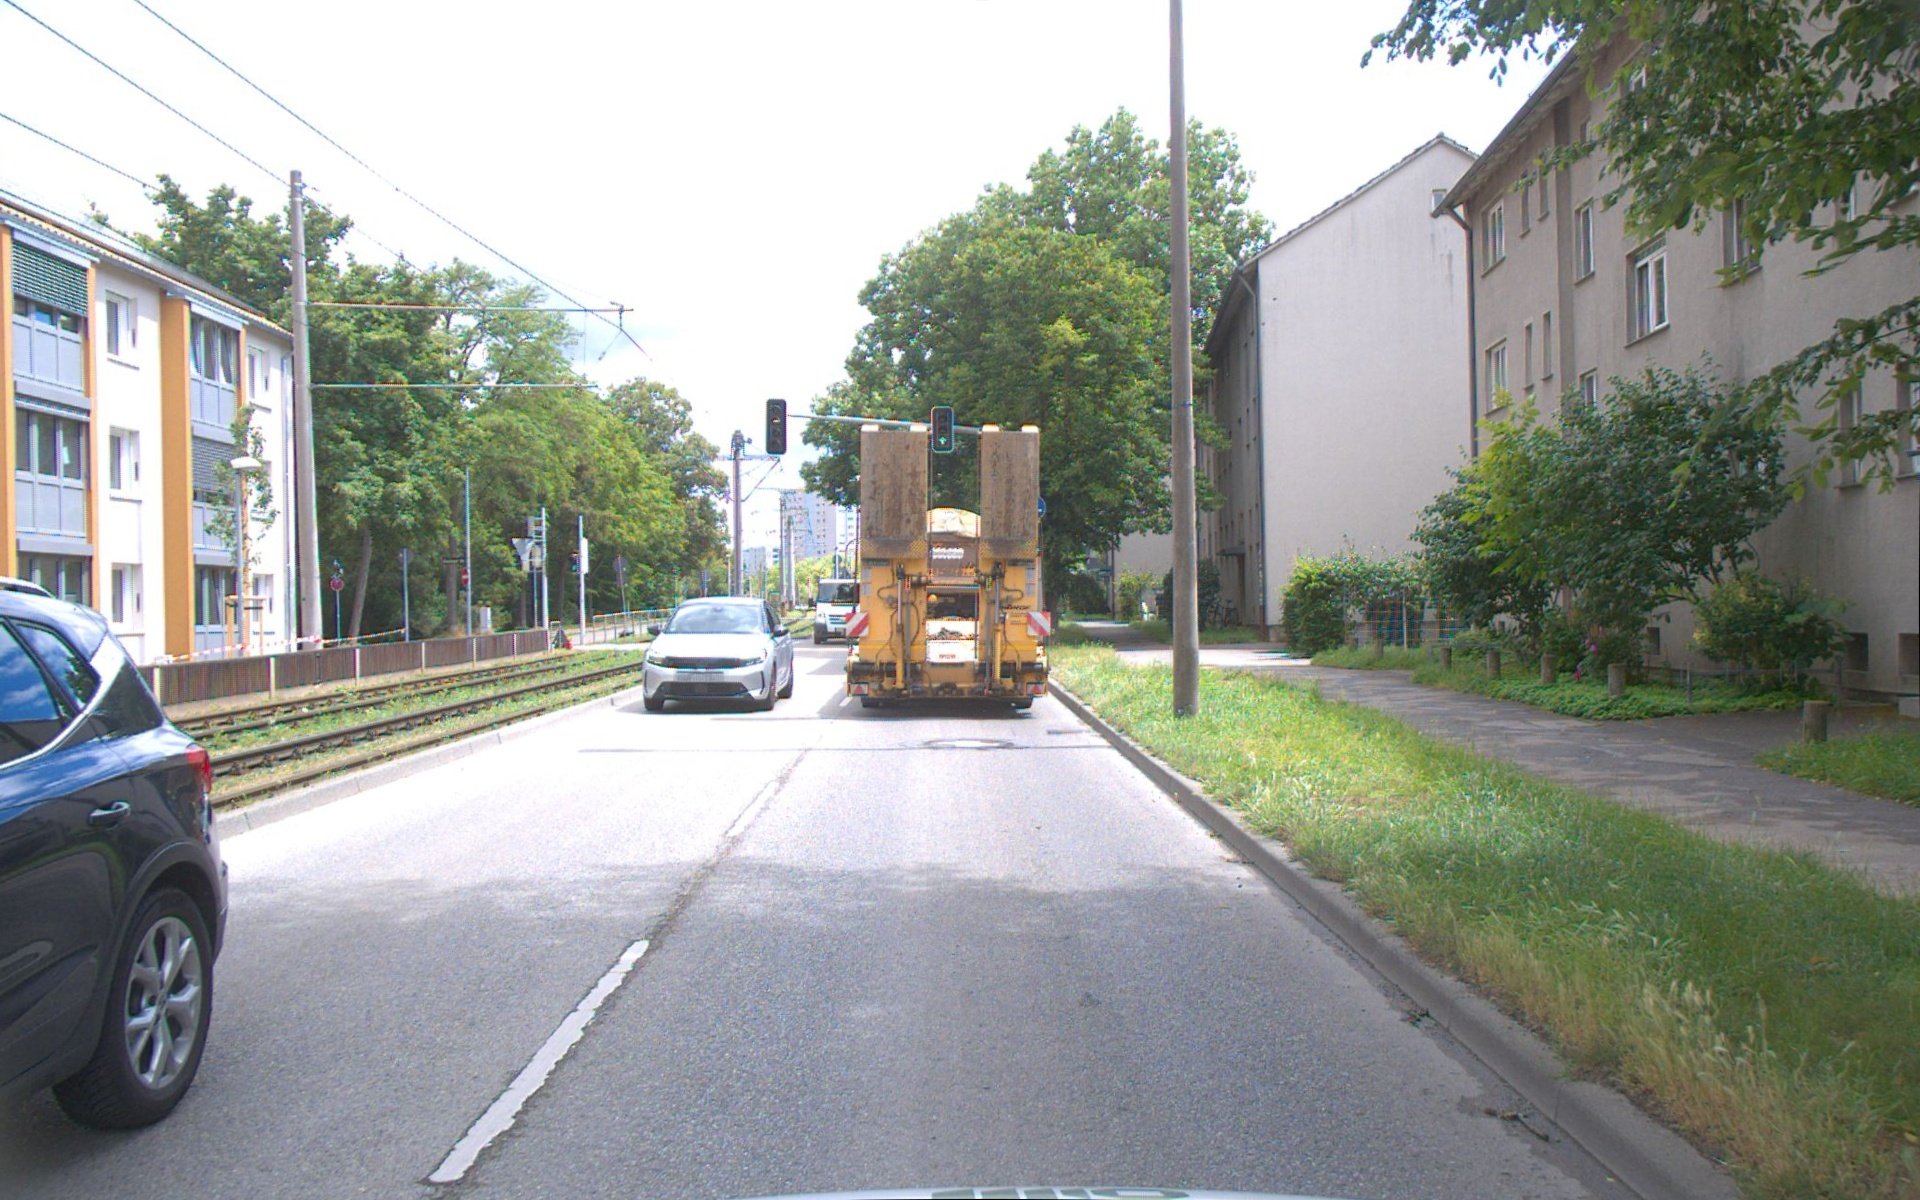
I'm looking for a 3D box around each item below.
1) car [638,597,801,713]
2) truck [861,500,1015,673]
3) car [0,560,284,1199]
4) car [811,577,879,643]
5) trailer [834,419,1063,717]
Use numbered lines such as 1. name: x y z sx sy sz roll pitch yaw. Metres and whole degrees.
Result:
1. car: -3.183 0.680 22.597 1.695 1.442 3.983 0 0 -1
2. truck: -0.489 -0.278 34.917 2.858 3.222 7.678 0 0 -1
3. car: -2.930 0.688 3.315 1.617 1.547 3.865 0 0 -1
4. car: -3.586 0.298 52.379 1.903 1.974 4.316 0 0 -1
5. trailer: -0.294 -0.406 25.572 2.766 3.585 11.048 0 0 -2
